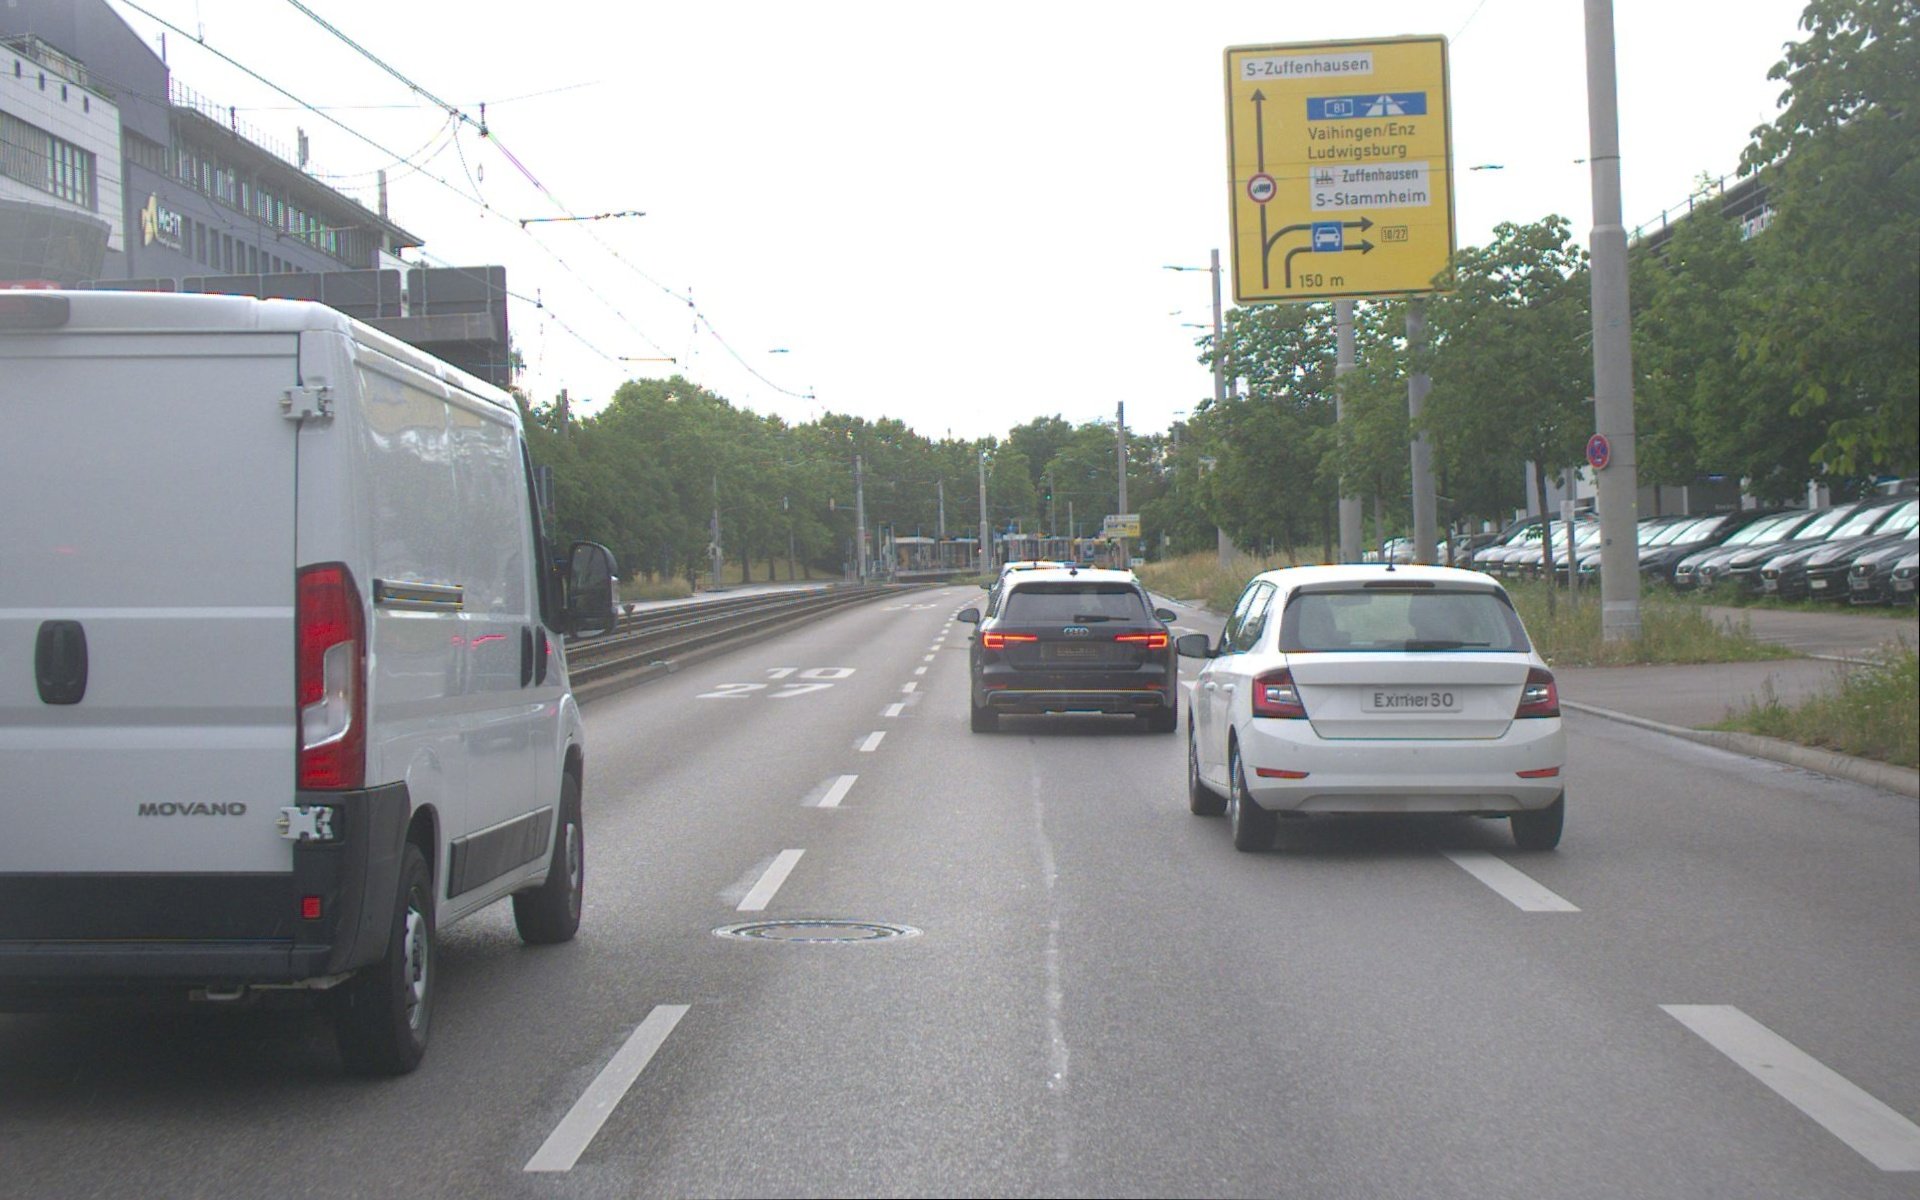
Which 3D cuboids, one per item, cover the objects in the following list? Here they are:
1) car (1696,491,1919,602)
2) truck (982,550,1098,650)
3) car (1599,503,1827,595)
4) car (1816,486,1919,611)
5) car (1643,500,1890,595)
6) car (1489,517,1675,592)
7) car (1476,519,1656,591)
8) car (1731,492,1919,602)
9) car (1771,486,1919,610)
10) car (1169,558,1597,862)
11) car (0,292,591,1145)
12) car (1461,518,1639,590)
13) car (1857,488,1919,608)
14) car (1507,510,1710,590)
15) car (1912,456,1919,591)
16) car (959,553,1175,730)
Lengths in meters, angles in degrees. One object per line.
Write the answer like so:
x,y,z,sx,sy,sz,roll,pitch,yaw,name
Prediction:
15.043,-0.943,58.501,4.484,1.657,1.822,-4,1,-10,car
1.512,-0.031,66.447,1.993,1.784,4.414,-2,1,-1,truck
15.012,-1.014,68.587,4.043,1.571,1.733,-4,1,-19,car
15.103,-0.855,50.455,4.484,1.746,1.822,-4,1,-11,car
14.919,-0.965,63.695,4.043,1.496,1.687,-4,1,-10,car
15.385,-1.125,85.061,4.138,1.599,1.827,-4,1,-24,car
15.507,-1.156,87.983,4.138,1.556,1.870,-4,1,-25,car
15.100,-0.915,56.055,4.484,1.613,1.822,-4,1,-8,car
15.106,-0.888,53.310,4.484,1.789,1.822,-4,1,-11,car
2.166,0.513,18.541,1.746,1.452,3.671,0,1,-2,car
-2.582,0.250,11.421,2.090,2.189,5.061,1,1,1,car
15.612,-1.213,90.879,4.321,1.607,1.870,-4,1,-28,car
15.022,-0.841,47.869,4.484,1.632,1.822,-4,1,-13,car
14.962,-1.150,79.300,4.138,1.564,1.910,-4,1,-22,car
15.096,-1.059,45.459,4.484,1.985,1.822,-4,1,-19,car
0.890,0.318,30.675,1.789,1.444,4.000,0,1,0,car
